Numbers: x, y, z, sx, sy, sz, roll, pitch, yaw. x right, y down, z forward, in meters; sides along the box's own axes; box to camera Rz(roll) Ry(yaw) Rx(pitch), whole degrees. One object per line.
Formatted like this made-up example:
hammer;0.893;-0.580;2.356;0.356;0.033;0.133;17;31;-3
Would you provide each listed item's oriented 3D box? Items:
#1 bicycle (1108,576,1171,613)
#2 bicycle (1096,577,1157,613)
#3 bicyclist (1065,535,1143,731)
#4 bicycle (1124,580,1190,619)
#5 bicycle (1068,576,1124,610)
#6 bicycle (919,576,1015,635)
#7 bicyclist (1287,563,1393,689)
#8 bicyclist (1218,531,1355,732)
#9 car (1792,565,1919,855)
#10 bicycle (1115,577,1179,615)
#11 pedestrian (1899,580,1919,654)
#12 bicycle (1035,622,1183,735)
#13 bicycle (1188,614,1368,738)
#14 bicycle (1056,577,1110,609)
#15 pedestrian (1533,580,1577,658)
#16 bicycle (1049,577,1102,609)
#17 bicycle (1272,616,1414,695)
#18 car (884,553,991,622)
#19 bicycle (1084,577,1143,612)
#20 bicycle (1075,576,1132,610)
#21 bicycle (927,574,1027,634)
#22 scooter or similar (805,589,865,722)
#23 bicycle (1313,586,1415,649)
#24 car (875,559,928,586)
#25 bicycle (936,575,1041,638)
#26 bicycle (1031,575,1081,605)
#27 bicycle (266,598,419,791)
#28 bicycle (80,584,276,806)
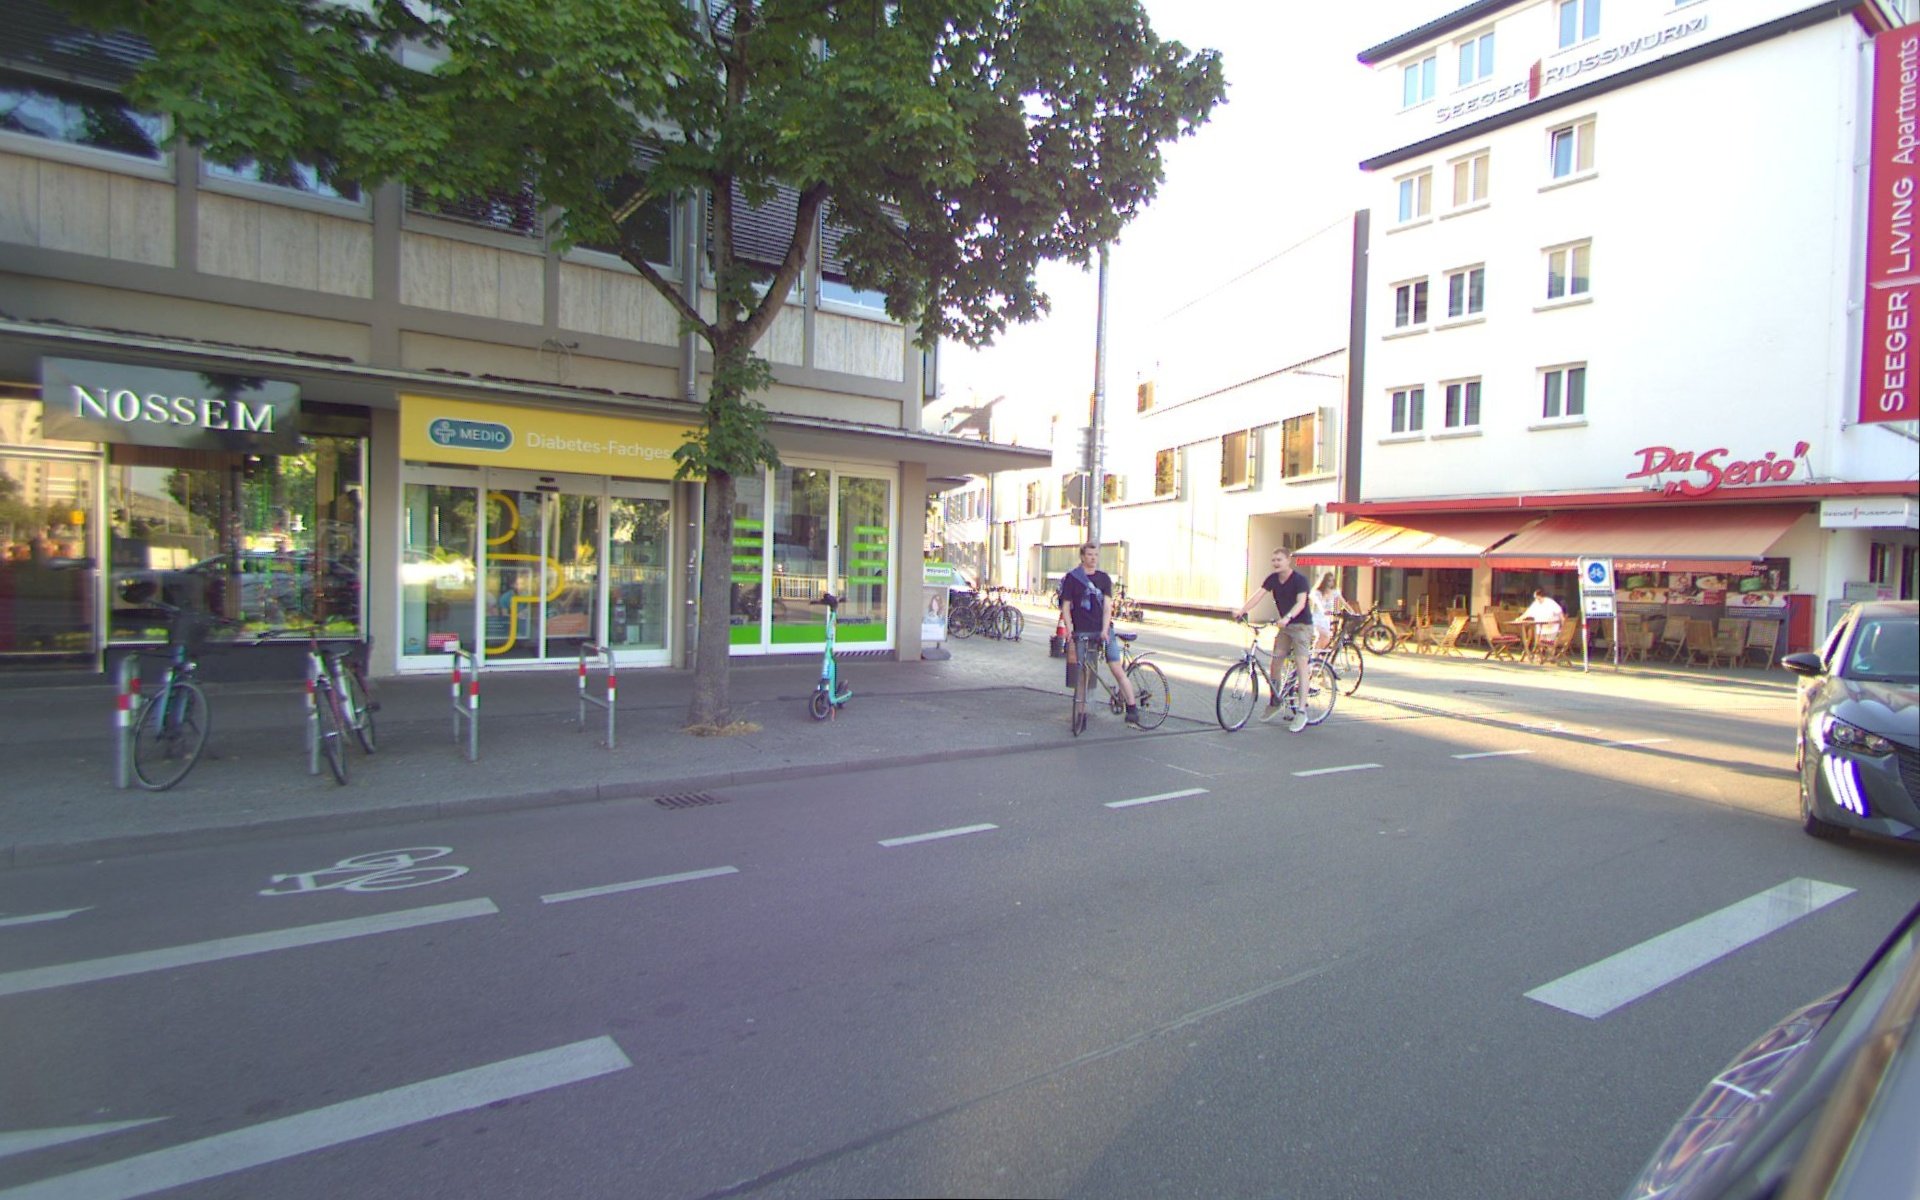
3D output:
bicycle;6.506;-0.203;36.701;2.068;1.235;0.706;3;1;-14
bicycle;6.213;-0.177;37.850;2.068;1.235;0.706;3;1;-14
bicyclist;1.408;0.305;9.903;0.550;1.853;0.465;0;2;-45
bicycle;6.824;-0.032;35.024;2.068;1.235;0.706;3;1;-14
bicycle;5.480;-0.282;40.793;2.068;1.235;0.706;3;1;-14
bicycle;0.159;0.127;23.945;2.069;1.235;0.706;4;0;-14
bicyclist;5.199;0.330;13.911;0.823;1.643;1.117;1;1;-13
bicyclist;3.363;0.285;10.421;1.095;1.941;0.839;1;2;-41
car;6.775;0.595;6.786;1.725;1.541;4.273;2;1;38
bicycle;6.637;-0.145;35.888;2.068;1.235;0.706;3;1;-14
pedestrian;23.610;0.411;24.811;0.594;1.782;0.526;2;1;9
bicycle;1.513;0.734;10.028;0.465;0.982;1.771;3;2;45
bicycle;3.300;0.725;10.401;2.042;1.032;0.839;-2;4;-42
bicycle;5.090;-0.298;41.996;2.068;1.235;0.706;3;1;-14
pedestrian;12.195;0.375;20.737;0.562;1.560;0.574;0;2;-37
bicycle;4.873;-0.307;42.732;2.068;1.235;0.706;3;1;-14
bicycle;5.194;0.722;13.902;0.823;0.892;2.017;1;2;-13
car;-0.706;-0.404;28.142;1.854;1.771;4.010;-1;2;-19
bicycle;5.878;-0.224;38.887;2.068;1.235;0.706;3;1;-14
bicycle;5.639;-0.270;39.759;2.068;1.235;0.706;3;1;-14
bicycle;0.382;0.078;22.713;2.068;1.235;0.706;3;1;-14
scooter or similar;-1.271;0.533;10.450;0.332;1.250;1.276;2;1;5
bicycle;9.133;0.376;22.971;0.690;1.303;2.115;1;2;-33
car;-4.659;-2.140;80.125;3.917;2.039;2.004;0;0;-10
bicycle;0.602;0.138;21.616;2.068;1.235;0.706;3;1;-14
bicycle;4.273;-0.463;45.126;2.068;1.235;0.706;2;1;-21
bicycle;-4.381;0.587;7.309;0.654;1.124;2.007;1;2;-23
bicycle;-5.268;0.549;6.943;0.654;1.251;1.914;1;2;-25
